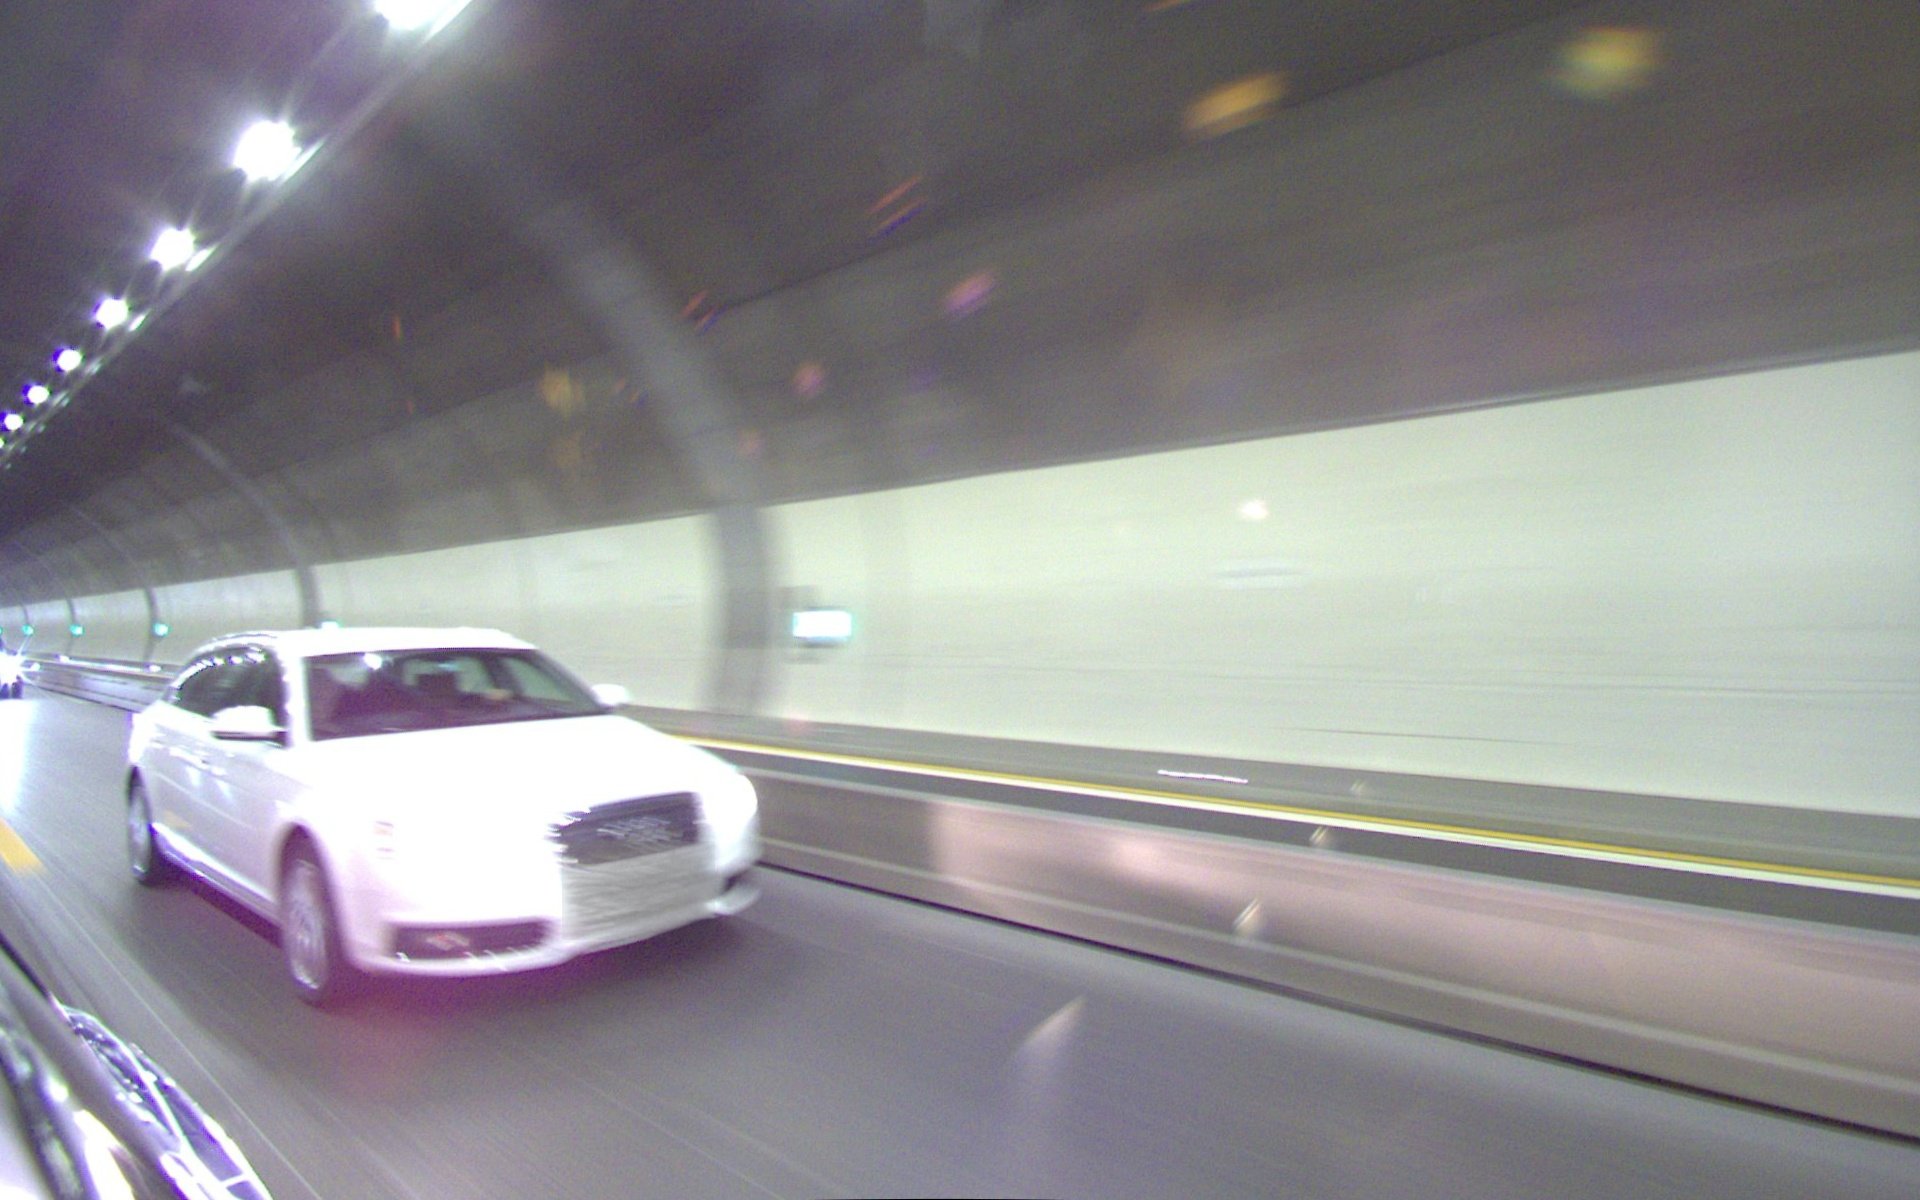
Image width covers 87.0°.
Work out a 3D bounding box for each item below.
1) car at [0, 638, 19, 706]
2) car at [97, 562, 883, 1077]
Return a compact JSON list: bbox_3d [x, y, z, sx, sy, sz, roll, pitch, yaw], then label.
[{"bbox_3d":[-21.959,1.555,22.146,3.655,1.414,1.635,-2,-2,41],"label":"car"},{"bbox_3d":[-2.807,0.740,5.306,4.940,1.496,1.883,-3,-3,41],"label":"car"}]
